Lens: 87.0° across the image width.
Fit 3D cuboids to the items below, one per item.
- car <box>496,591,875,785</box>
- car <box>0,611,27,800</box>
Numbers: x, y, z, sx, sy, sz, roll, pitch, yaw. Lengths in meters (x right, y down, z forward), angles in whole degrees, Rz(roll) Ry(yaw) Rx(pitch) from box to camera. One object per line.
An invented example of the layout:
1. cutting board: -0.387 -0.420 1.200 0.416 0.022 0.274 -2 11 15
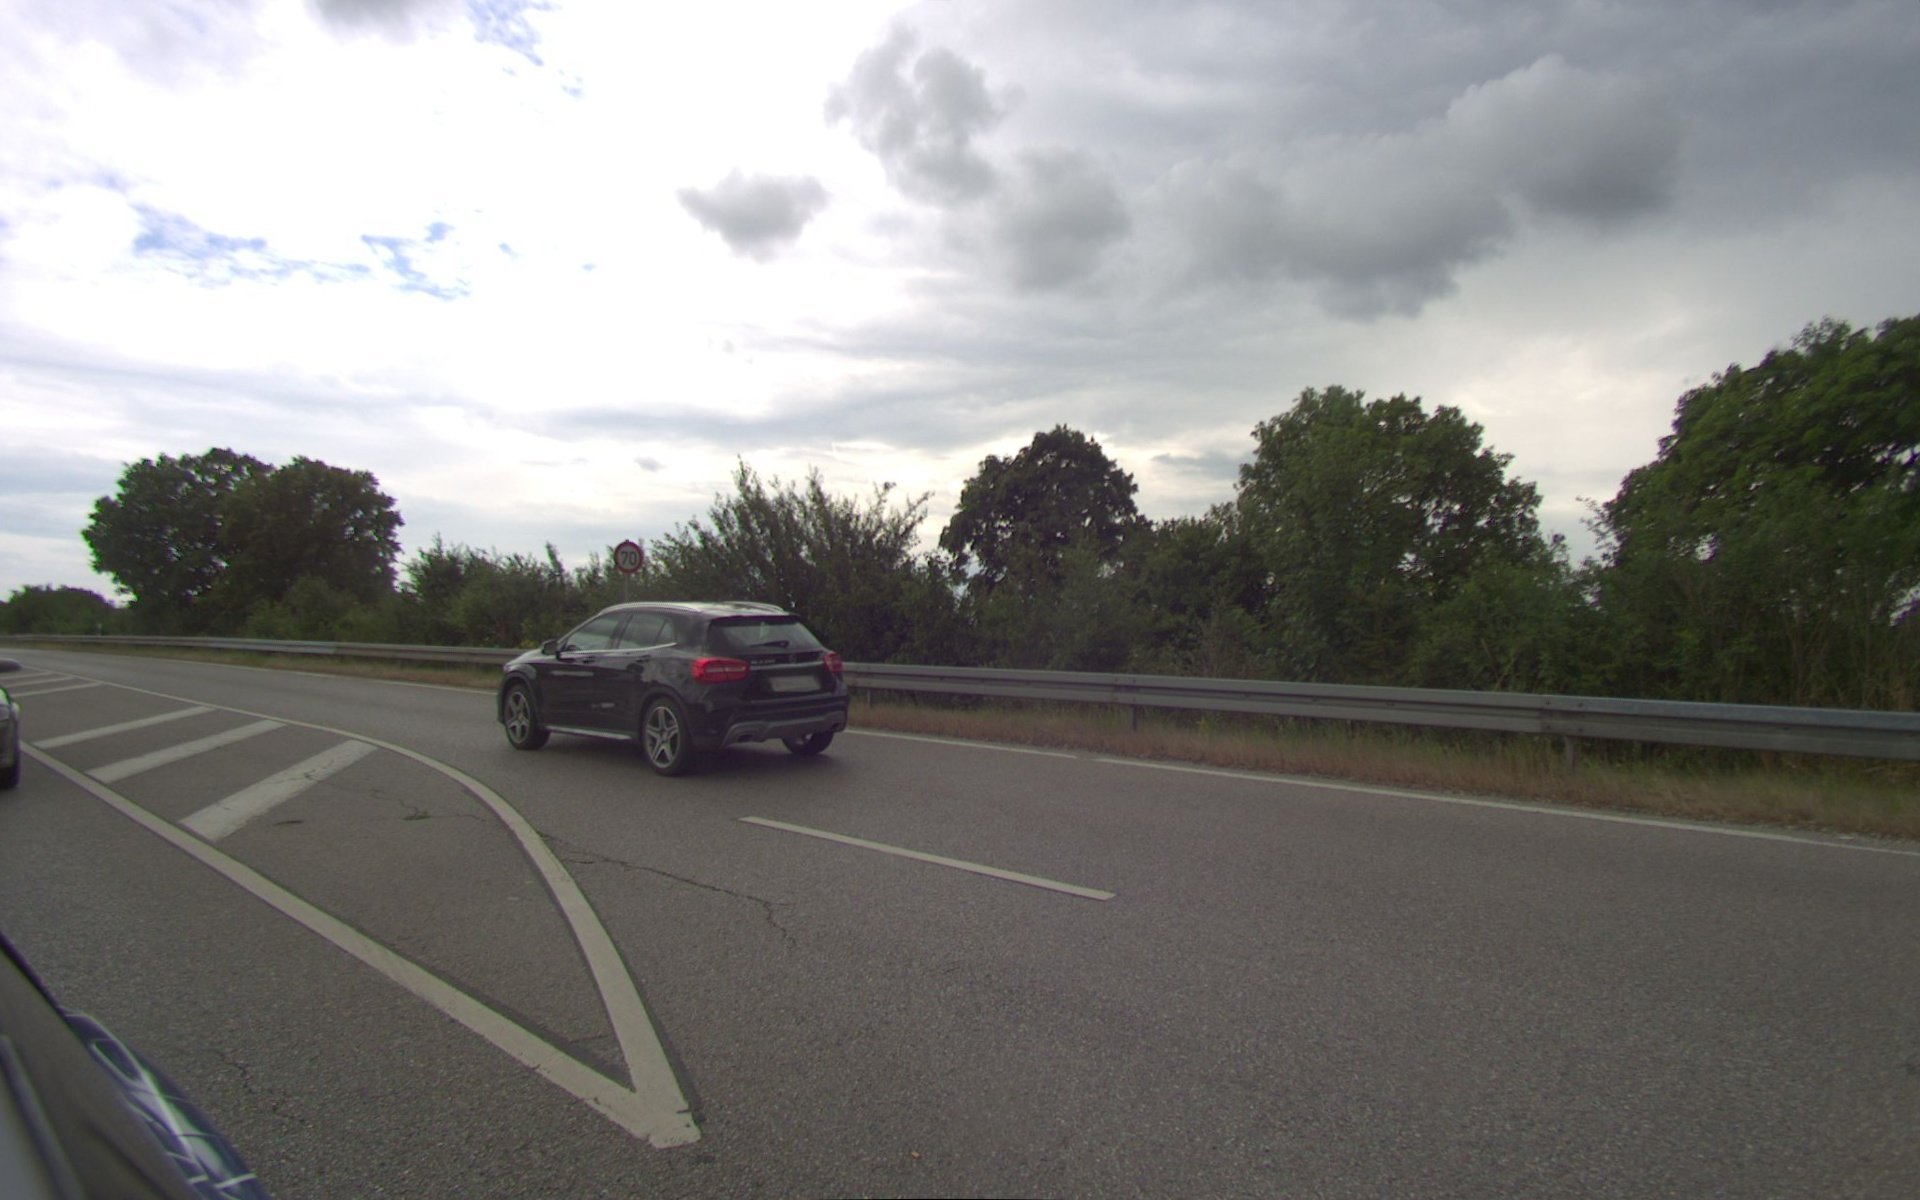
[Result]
1. car: -2.833 0.723 9.965 3.998 1.534 1.693 -1 -1 41
2. car: -9.415 0.863 8.604 4.032 1.461 1.761 -2 -2 41
